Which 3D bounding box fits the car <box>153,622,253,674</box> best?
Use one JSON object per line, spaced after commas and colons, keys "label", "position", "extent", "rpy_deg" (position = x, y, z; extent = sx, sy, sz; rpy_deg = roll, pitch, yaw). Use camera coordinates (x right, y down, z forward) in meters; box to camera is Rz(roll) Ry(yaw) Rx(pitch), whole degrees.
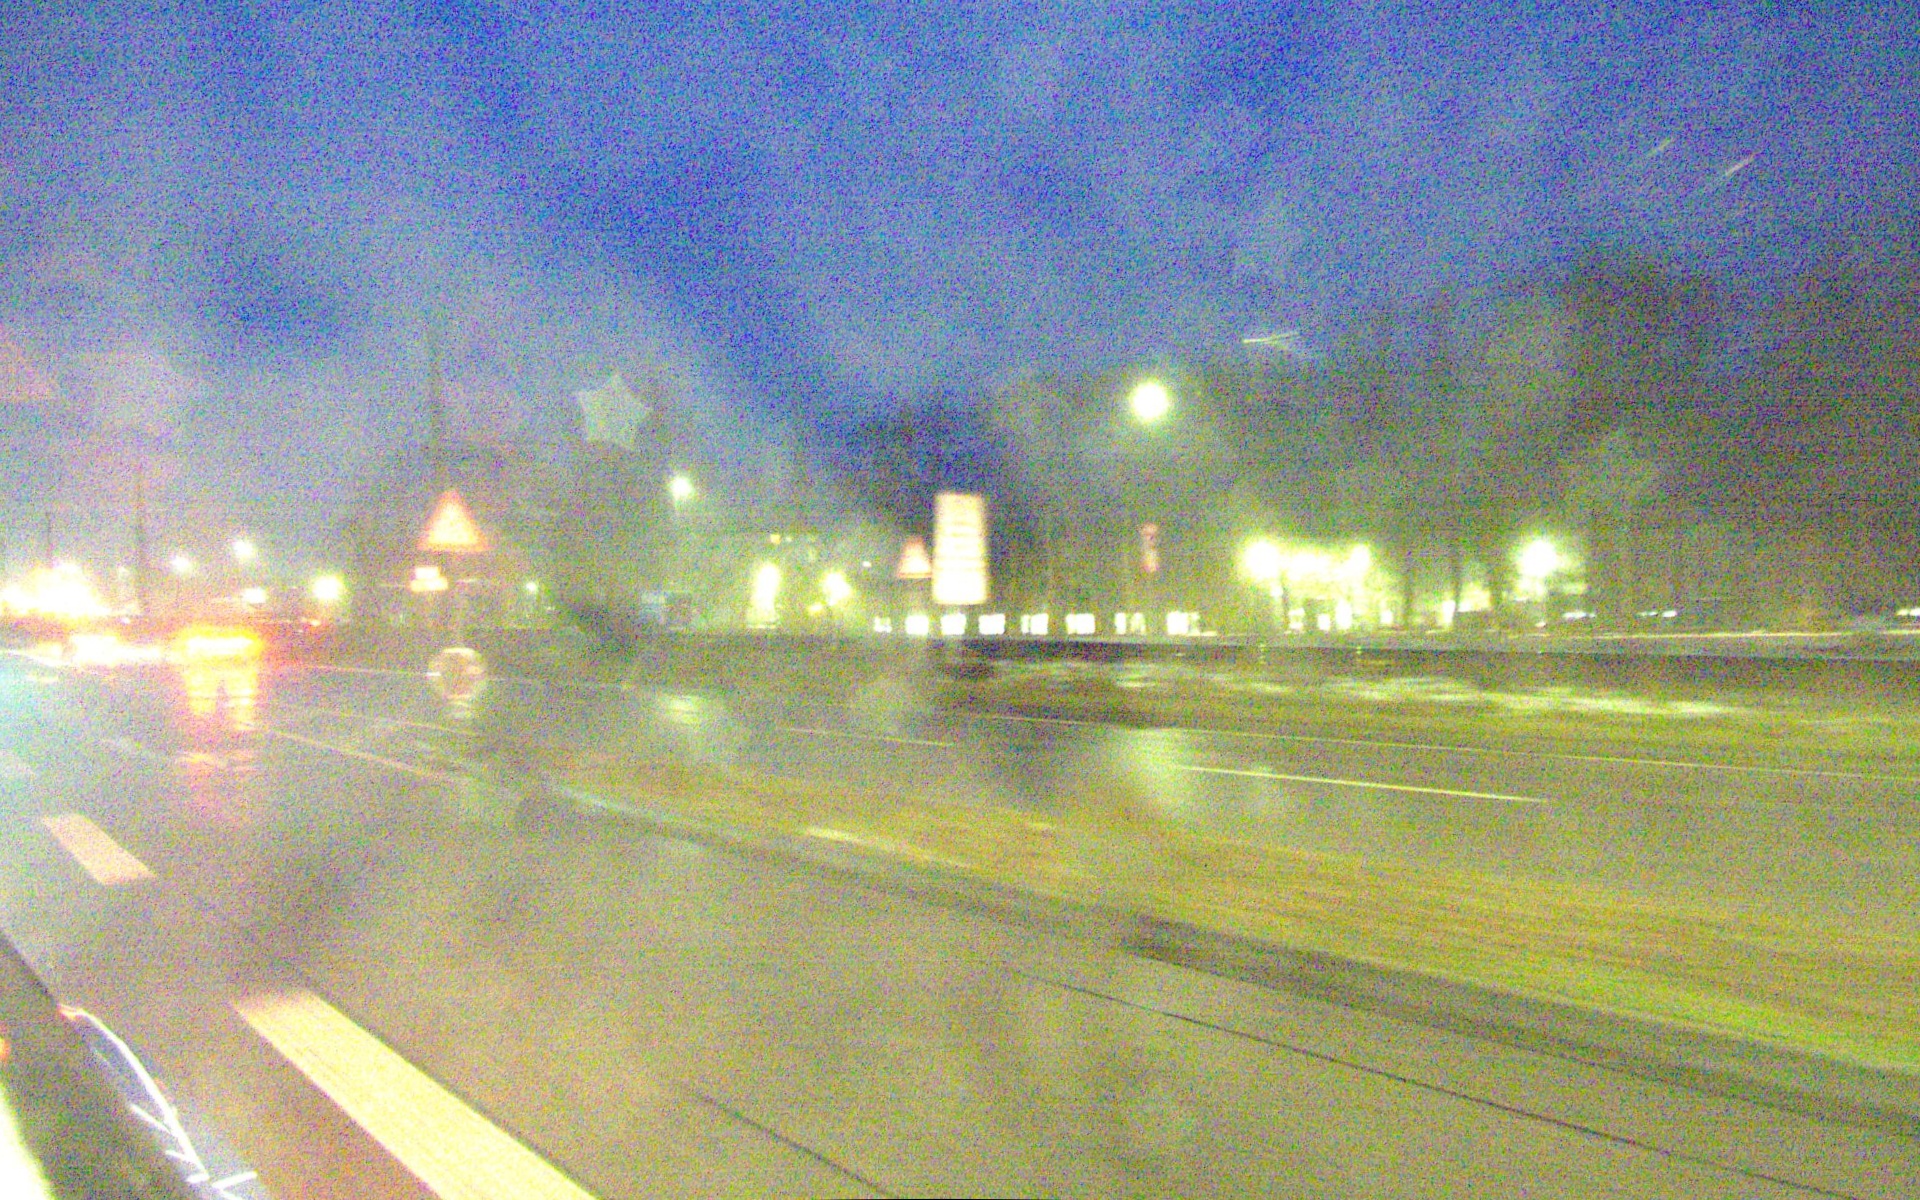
{"label": "car", "position": [-26.809, 1.659, 35.766], "extent": [4.648, 1.654, 1.744], "rpy_deg": [-2, 0, 39]}

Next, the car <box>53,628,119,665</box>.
{"label": "car", "position": [-42.148, 2.208, 48.798], "extent": [4.028, 1.600, 1.784], "rpy_deg": [-1, 1, 40]}

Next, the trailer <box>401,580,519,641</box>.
{"label": "trailer", "position": [-43.150, 0.856, 87.035], "extent": [14.246, 4.643, 3.930], "rpy_deg": [0, 4, 42]}

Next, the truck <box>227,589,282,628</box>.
{"label": "truck", "position": [-91.398, 1.103, 130.954], "extent": [10.211, 4.643, 3.403], "rpy_deg": [0, 4, 42]}

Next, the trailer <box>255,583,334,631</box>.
{"label": "trailer", "position": [-78.672, 0.780, 119.497], "extent": [14.833, 5.049, 3.930], "rpy_deg": [0, 4, 42]}

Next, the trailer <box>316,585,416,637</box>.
{"label": "trailer", "position": [-59.745, 1.017, 101.501], "extent": [15.513, 4.643, 3.930], "rpy_deg": [0, 4, 42]}

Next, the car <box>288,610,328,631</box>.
{"label": "car", "position": [-56.524, 1.770, 87.702], "extent": [4.217, 1.706, 1.768], "rpy_deg": [-2, 1, 41]}

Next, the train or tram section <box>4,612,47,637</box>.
{"label": "train or tram section", "position": [-170.892, 4.250, 184.744], "extent": [37.144, 3.842, 2.668], "rpy_deg": [0, 4, 43]}
